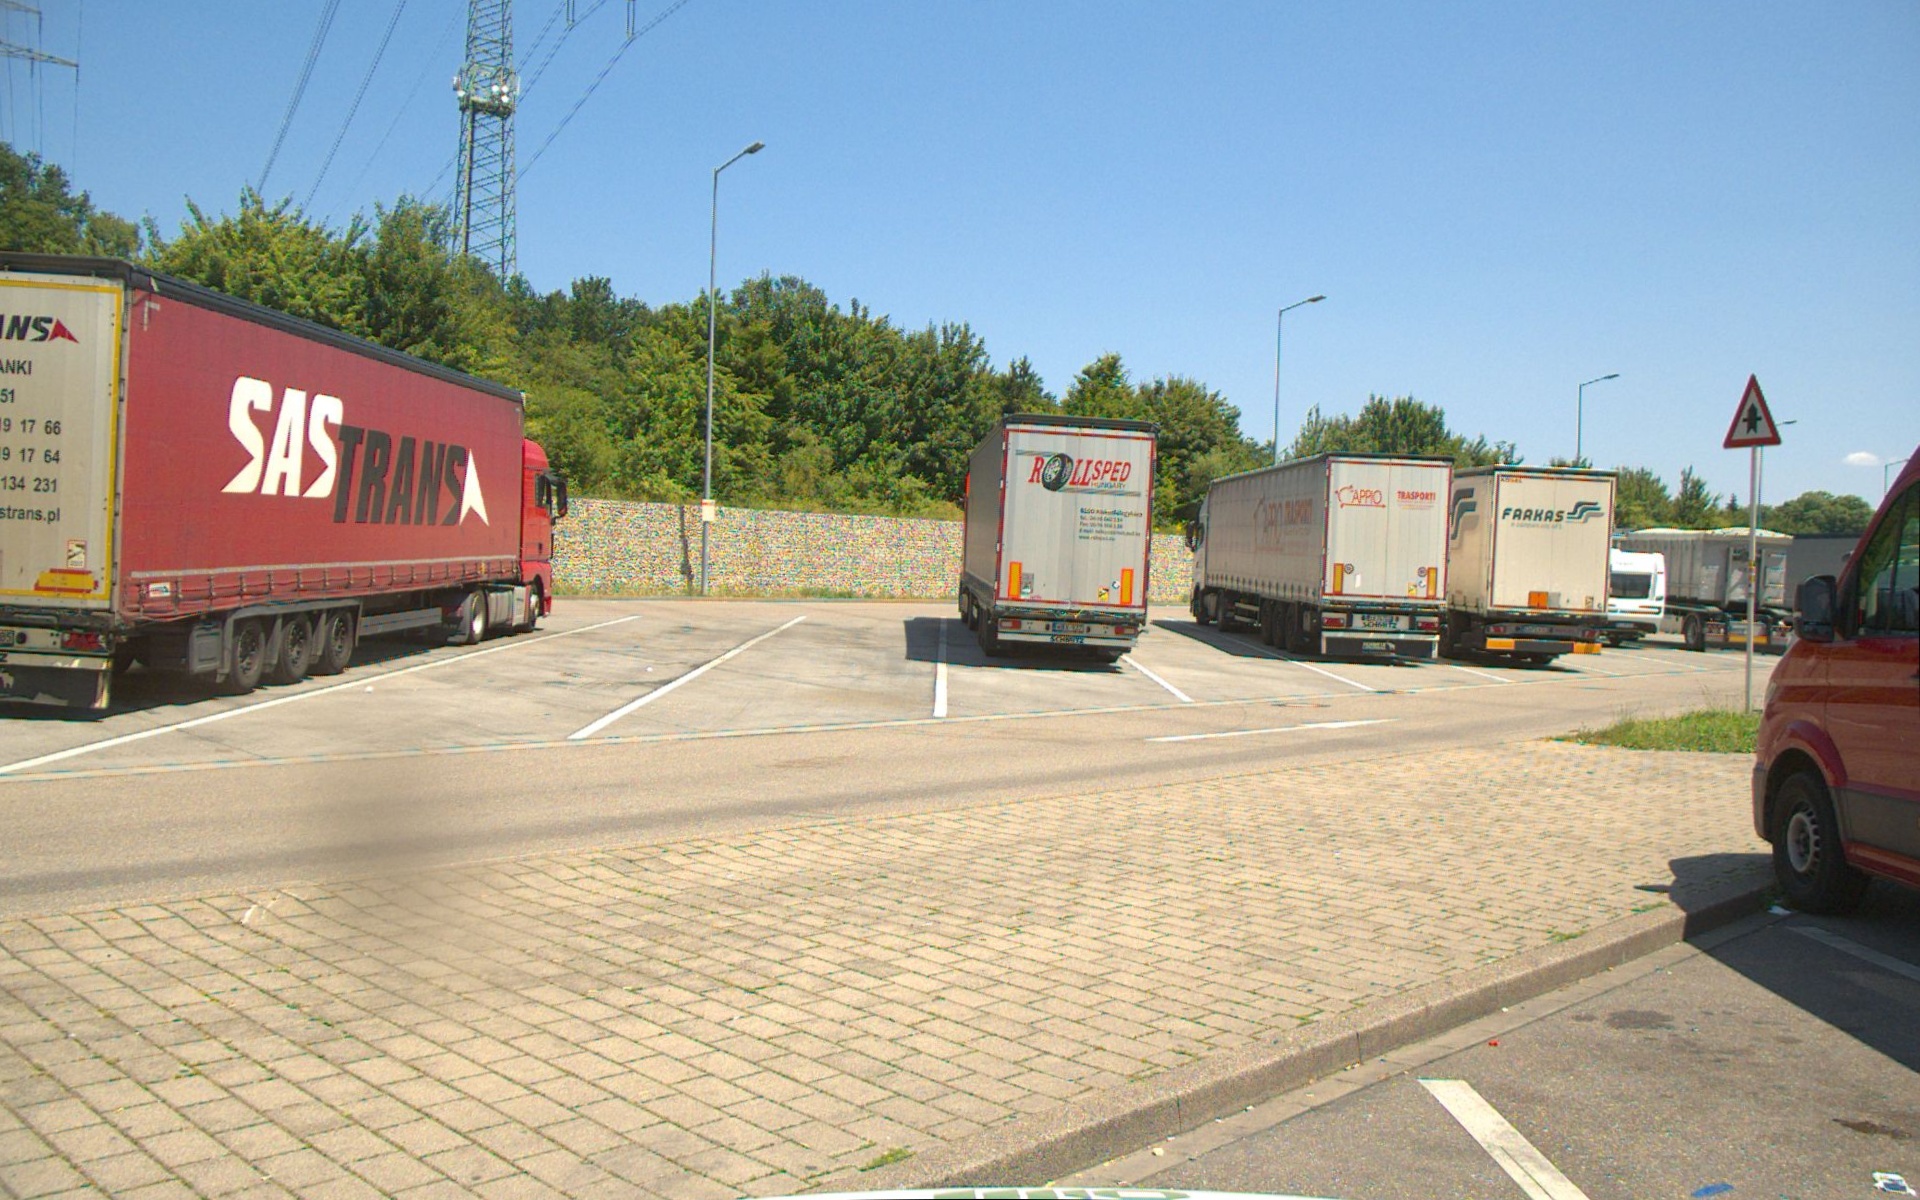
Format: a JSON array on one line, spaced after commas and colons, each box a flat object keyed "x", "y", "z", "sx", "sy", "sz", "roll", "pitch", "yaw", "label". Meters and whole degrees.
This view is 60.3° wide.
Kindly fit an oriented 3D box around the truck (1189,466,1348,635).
[{"x": 8.168, "y": -1.382, "z": 44.726, "sx": 2.808, "sy": 4.107, "sz": 6.956, "roll": 2, "pitch": 2, "yaw": -1, "label": "truck"}]

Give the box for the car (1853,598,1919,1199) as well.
[{"x": 2.541, "y": 0.799, "z": 1.103, "sx": 1.584, "sy": 1.509, "sz": 3.762, "roll": 1, "pitch": 1, "yaw": -6, "label": "car"}]

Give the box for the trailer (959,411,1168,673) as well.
[{"x": 1.656, "y": -1.236, "z": 33.661, "sx": 2.809, "sy": 4.107, "sz": 14.238, "roll": 2, "pitch": 2, "yaw": -2, "label": "trailer"}]

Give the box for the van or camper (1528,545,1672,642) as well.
[{"x": 18.323, "y": -0.225, "z": 47.670, "sx": 2.061, "sy": 2.606, "sz": 5.372, "roll": 1, "pitch": 1, "yaw": 0, "label": "van or camper"}]

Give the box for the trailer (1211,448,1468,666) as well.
[{"x": 8.247, "y": -1.086, "z": 38.096, "sx": 2.808, "sy": 4.107, "sz": 12.438, "roll": 2, "pitch": 2, "yaw": -1, "label": "trailer"}]

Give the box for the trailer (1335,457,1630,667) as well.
[{"x": 11.824, "y": -1.021, "z": 39.213, "sx": 2.808, "sy": 4.107, "sz": 12.438, "roll": 2, "pitch": 2, "yaw": -1, "label": "trailer"}]

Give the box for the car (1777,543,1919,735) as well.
[{"x": 11.900, "y": 0.438, "z": 19.504, "sx": 1.952, "sy": 2.188, "sz": 5.313, "roll": -1, "pitch": 0, "yaw": 1, "label": "car"}]

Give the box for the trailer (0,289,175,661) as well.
[{"x": -12.545, "y": -1.401, "z": 17.153, "sx": 2.756, "sy": 4.341, "sz": 12.940, "roll": 2, "pitch": 2, "yaw": -1, "label": "trailer"}]

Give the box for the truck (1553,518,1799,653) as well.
[{"x": 21.750, "y": -0.646, "z": 51.234, "sx": 2.437, "sy": 3.630, "sz": 11.423, "roll": 2, "pitch": 2, "yaw": -1, "label": "truck"}]

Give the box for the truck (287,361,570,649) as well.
[{"x": -8.696, "y": -1.525, "z": 27.869, "sx": 2.641, "sy": 4.184, "sz": 6.239, "roll": 2, "pitch": 2, "yaw": 0, "label": "truck"}]

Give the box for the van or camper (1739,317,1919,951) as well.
[{"x": 4.991, "y": 0.178, "z": 5.550, "sx": 1.954, "sy": 2.700, "sz": 6.482, "roll": 1, "pitch": 1, "yaw": 3, "label": "van or camper"}]

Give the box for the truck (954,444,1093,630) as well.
[{"x": 1.425, "y": -1.563, "z": 40.741, "sx": 2.809, "sy": 4.107, "sz": 7.026, "roll": 2, "pitch": 2, "yaw": -2, "label": "truck"}]

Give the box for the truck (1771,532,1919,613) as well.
[{"x": 34.704, "y": -1.066, "z": 63.626, "sx": 2.082, "sy": 2.869, "sz": 9.777, "roll": 1, "pitch": 1, "yaw": -1, "label": "truck"}]

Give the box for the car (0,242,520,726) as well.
[{"x": -8.675, "y": -1.276, "z": 20.951, "sx": 2.641, "sy": 4.184, "sz": 12.935, "roll": 2, "pitch": 2, "yaw": 0, "label": "car"}]
